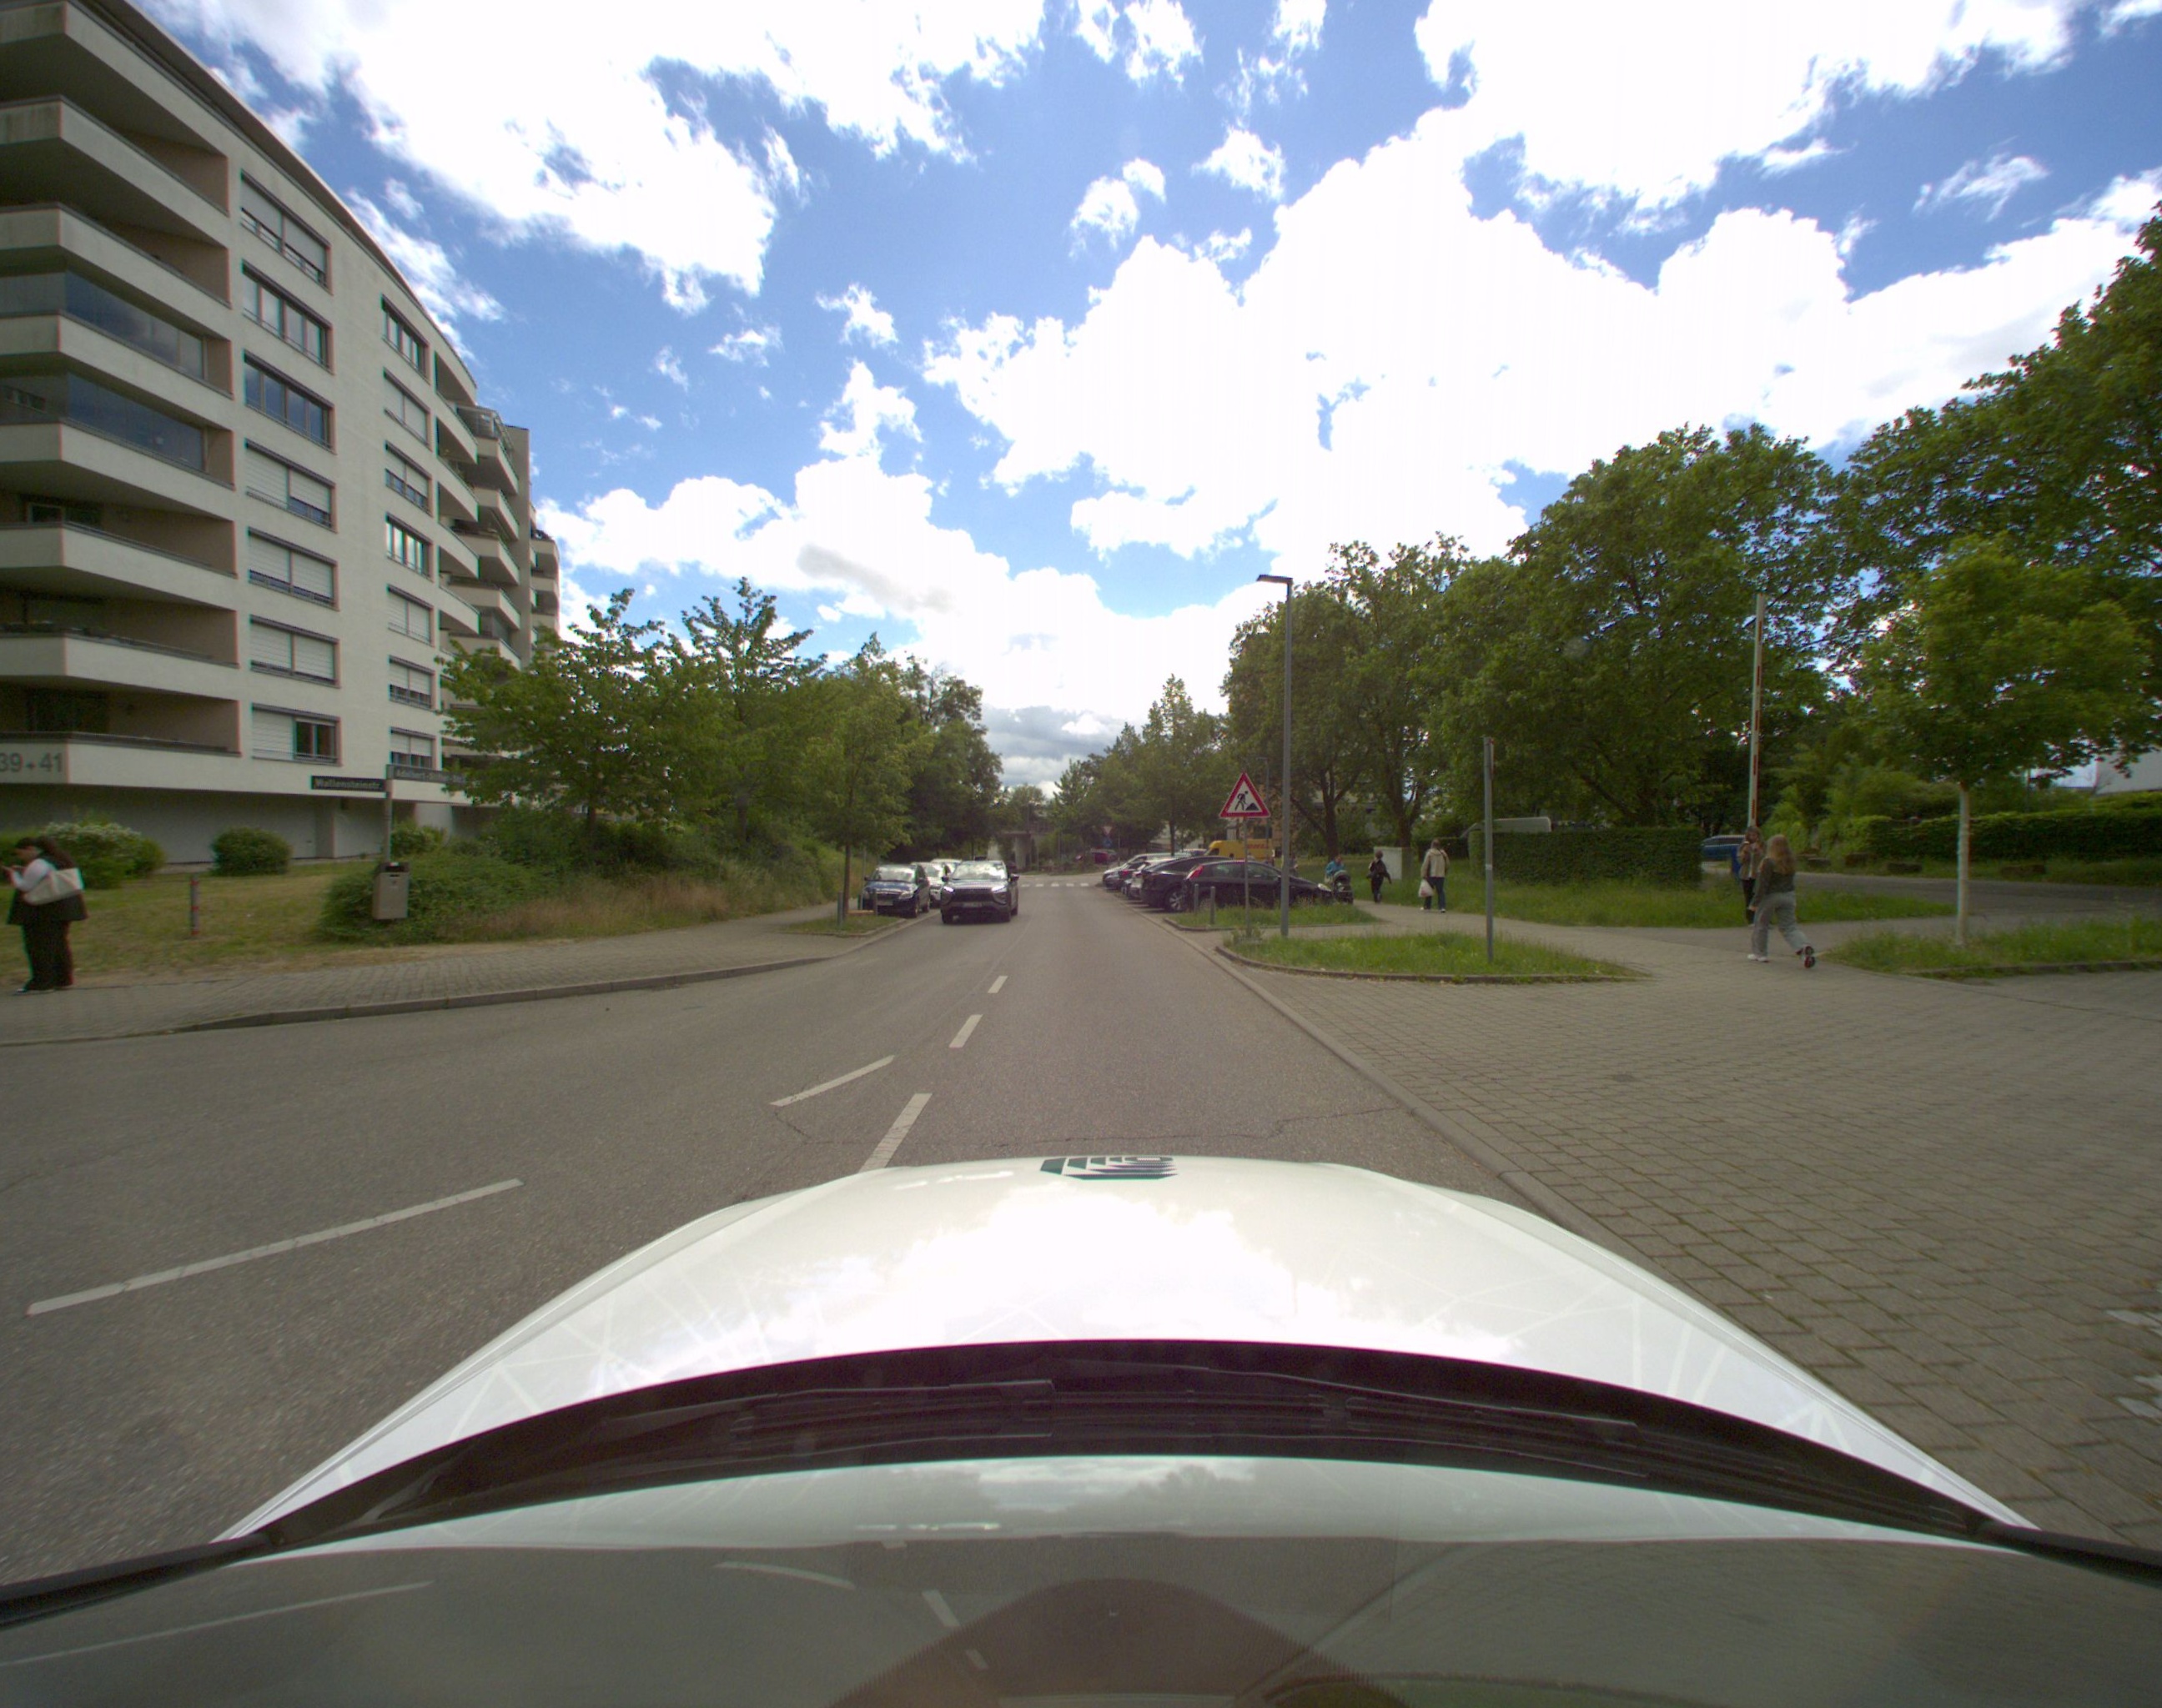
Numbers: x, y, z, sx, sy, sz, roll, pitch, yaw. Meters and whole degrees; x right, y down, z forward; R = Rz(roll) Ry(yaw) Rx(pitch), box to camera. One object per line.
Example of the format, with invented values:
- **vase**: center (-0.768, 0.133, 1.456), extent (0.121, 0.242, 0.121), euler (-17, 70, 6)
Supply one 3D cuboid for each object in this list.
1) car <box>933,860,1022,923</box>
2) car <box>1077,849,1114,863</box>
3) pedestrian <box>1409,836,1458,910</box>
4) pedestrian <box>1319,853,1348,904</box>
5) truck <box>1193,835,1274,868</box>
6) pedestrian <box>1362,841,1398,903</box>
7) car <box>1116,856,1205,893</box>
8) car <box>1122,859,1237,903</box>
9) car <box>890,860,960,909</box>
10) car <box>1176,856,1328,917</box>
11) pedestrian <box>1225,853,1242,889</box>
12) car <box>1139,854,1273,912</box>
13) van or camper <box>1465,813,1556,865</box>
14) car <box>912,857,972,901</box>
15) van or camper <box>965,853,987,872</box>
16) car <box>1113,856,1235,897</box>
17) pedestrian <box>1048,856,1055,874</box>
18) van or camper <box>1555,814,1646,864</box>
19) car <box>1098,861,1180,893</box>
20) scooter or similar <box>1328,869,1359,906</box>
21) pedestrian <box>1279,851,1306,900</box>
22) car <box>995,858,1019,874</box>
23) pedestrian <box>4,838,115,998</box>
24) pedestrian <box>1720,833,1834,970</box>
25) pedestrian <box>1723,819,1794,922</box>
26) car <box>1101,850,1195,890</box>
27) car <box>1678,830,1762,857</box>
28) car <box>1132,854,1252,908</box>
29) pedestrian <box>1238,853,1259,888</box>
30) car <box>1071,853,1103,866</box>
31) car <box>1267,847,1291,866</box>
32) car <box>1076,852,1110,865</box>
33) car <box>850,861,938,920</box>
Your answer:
- **car**: center (-2.762, 0.960, 22.647), extent (1.890, 1.583, 4.167), euler (0, 0, 0)
- **car**: center (1.778, 0.272, 99.879), extent (4.527, 1.668, 1.945), euler (0, 0, 1)
- **pedestrian**: center (8.705, 0.468, 20.156), extent (0.828, 1.793, 0.878), euler (0, 0, -1)
- **pedestrian**: center (7.364, 0.712, 23.757), extent (0.617, 1.468, 0.735), euler (0, 0, -1)
- **truck**: center (13.704, -0.233, 73.341), extent (6.784, 2.701, 2.473), euler (-2, 2, -2)
- **pedestrian**: center (8.860, 0.527, 24.144), extent (0.737, 1.793, 0.878), euler (0, 0, -1)
- **car**: center (3.618, 0.920, 37.602), extent (3.815, 1.520, 1.910), euler (-2, -1, -3)
- **car**: center (3.513, 0.962, 29.328), extent (3.968, 1.519, 1.886), euler (0, -1, 5)
- **car**: center (-5.465, 1.033, 28.969), extent (1.685, 1.511, 4.228), euler (3, 0, -1)
- **car**: center (4.437, 0.831, 21.478), extent (3.658, 1.498, 1.645), euler (-1, 0, 0)
- **pedestrian**: center (7.216, 0.800, 38.605), extent (0.687, 1.657, 0.599), euler (0, 0, -3)
- **car**: center (3.589, 0.823, 23.802), extent (3.658, 1.574, 1.593), euler (-1, 0, 0)
- **van or camper**: center (24.316, -0.801, 46.138), extent (4.423, 2.798, 2.128), euler (0, 0, 29)
- **car**: center (-5.784, 1.004, 34.486), extent (1.802, 1.664, 4.434), euler (3, 0, -1)
- **van or camper**: center (-14.951, 1.193, 115.619), extent (2.000, 2.523, 5.435), euler (-3, -1, -19)
- **car**: center (3.683, 0.896, 32.846), extent (4.570, 1.492, 1.947), euler (-1, -1, -7)
- **pedestrian**: center (-2.986, 1.097, 81.451), extent (0.655, 1.722, 0.739), euler (0, 0, 0)
- **van or camper**: center (30.637, -0.833, 48.068), extent (4.422, 2.798, 2.128), euler (0, 0, 35)
- **car**: center (2.832, 1.110, 40.166), extent (3.815, 1.371, 1.841), euler (-2, -1, -3)
- **scooter or similar**: center (7.379, 0.932, 22.913), extent (0.578, 1.023, 0.943), euler (0, 0, -1)
- **pedestrian**: center (7.752, 0.778, 29.897), extent (0.737, 1.793, 0.878), euler (0, 0, -1)
- **car**: center (-9.018, 1.445, 98.730), extent (1.819, 1.679, 4.339), euler (-1, -4, -20)
- **pedestrian**: center (-10.930, 0.640, 8.738), extent (0.711, 1.610, 0.638), euler (2, 3, 44)
- **pedestrian**: center (8.634, 0.566, 10.140), extent (0.683, 1.621, 0.934), euler (0, 0, 9)
- **pedestrian**: center (11.558, 0.281, 13.912), extent (0.651, 1.711, 0.707), euler (0, 0, 5)
- **car**: center (3.495, 0.837, 43.129), extent (4.760, 1.831, 1.842), euler (-2, -1, -1)
- **car**: center (39.416, -0.615, 50.321), extent (3.948, 1.574, 1.777), euler (0, 0, 33)
- **car**: center (3.548, 0.850, 26.584), extent (3.658, 1.647, 1.851), euler (-1, 0, 0)
- **pedestrian**: center (7.948, 0.781, 38.679), extent (0.867, 1.657, 0.592), euler (0, 0, -3)
- **car**: center (0.724, 0.690, 94.857), extent (3.634, 1.498, 1.686), euler (0, 0, 3)
- **car**: center (18.824, 0.213, 77.591), extent (1.560, 1.659, 3.782), euler (-3, 0, 5)
- **car**: center (1.374, 0.487, 89.757), extent (3.634, 1.439, 1.686), euler (0, 0, 3)
- **car**: center (-5.410, 1.002, 24.031), extent (1.685, 1.487, 3.951), euler (3, 0, -1)
